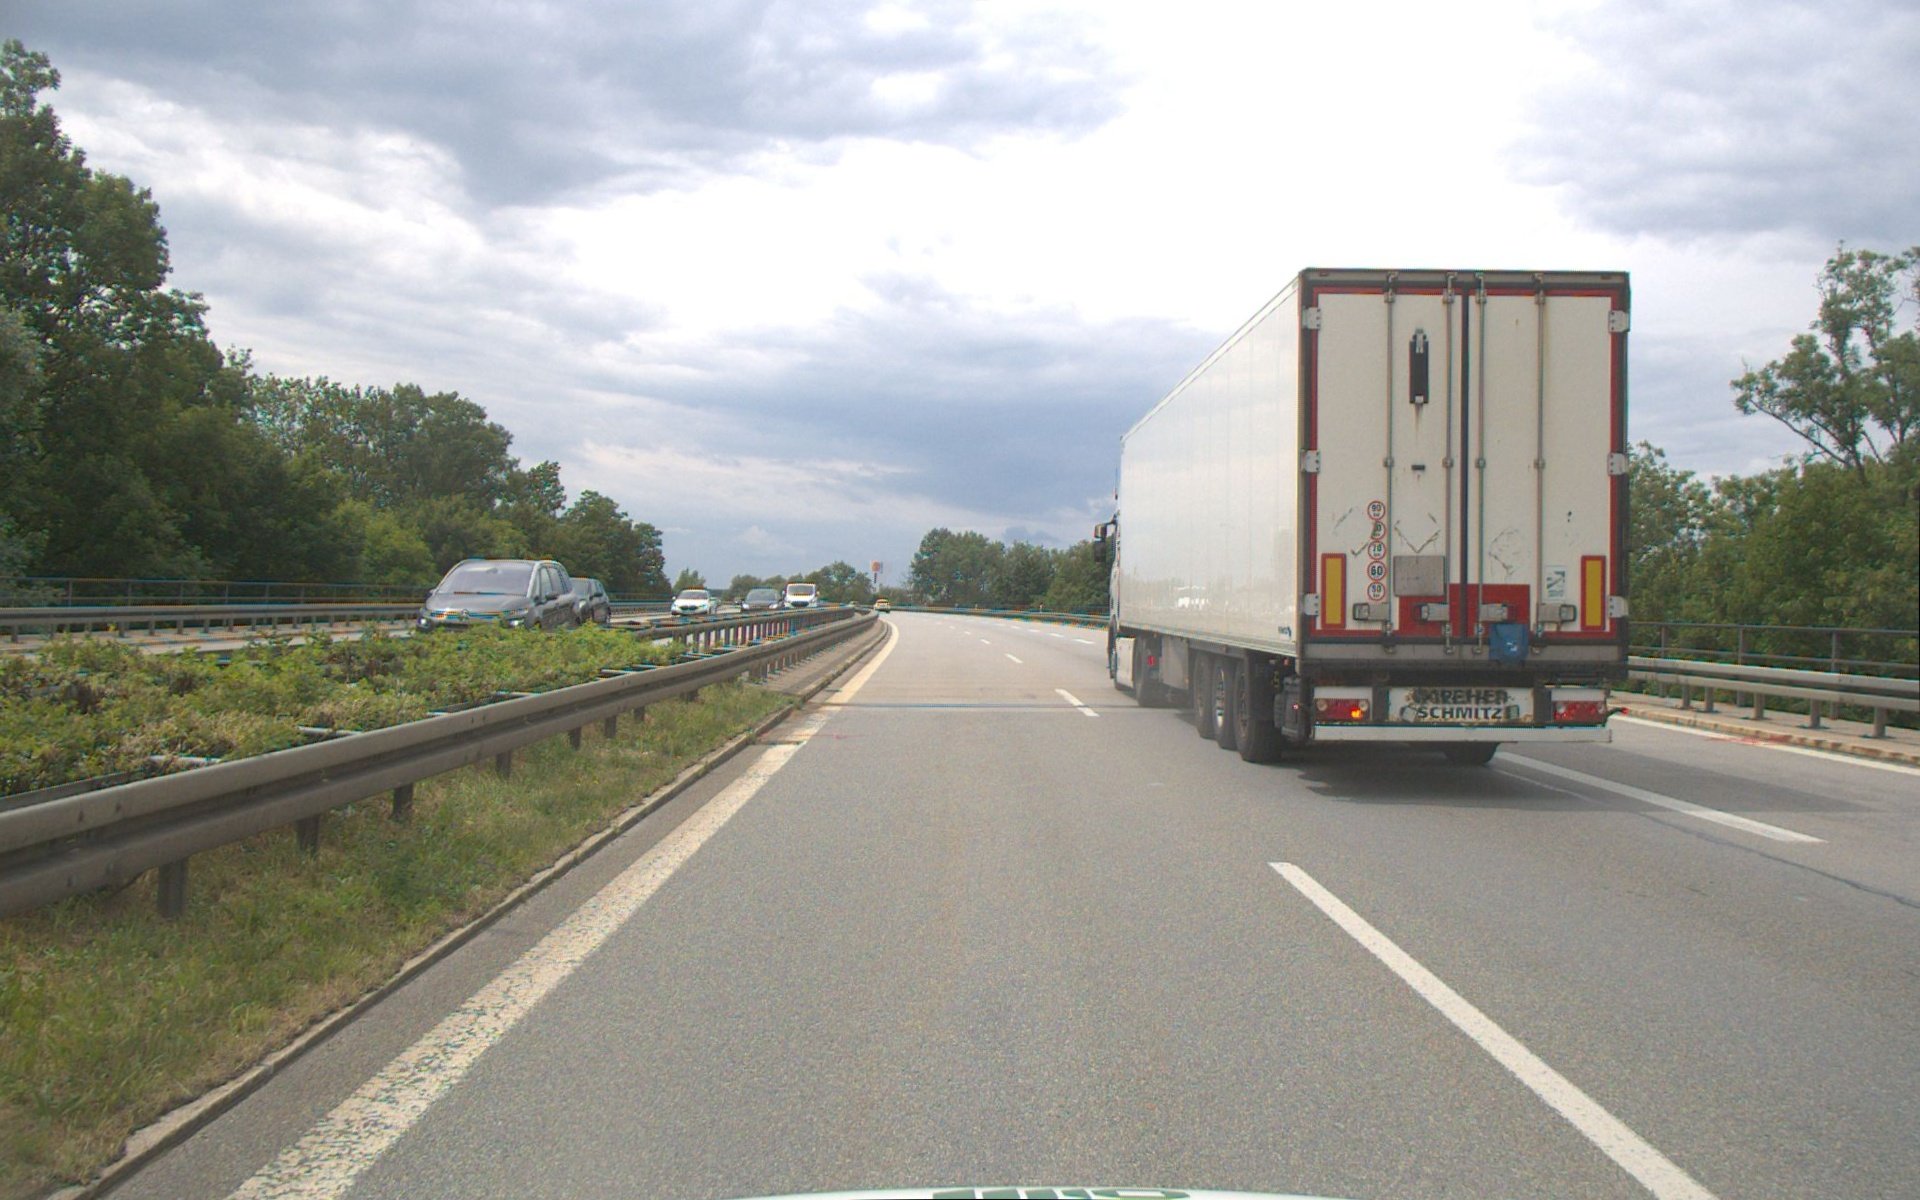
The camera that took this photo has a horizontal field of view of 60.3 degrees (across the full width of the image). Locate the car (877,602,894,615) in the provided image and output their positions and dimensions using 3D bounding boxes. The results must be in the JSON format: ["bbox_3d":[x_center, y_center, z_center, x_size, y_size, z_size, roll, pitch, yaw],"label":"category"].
[{"bbox_3d":[-9.372,1.083,208.208,1.865,1.669,4.391,1,-1,-5],"label":"car"}]

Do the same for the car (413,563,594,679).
[{"bbox_3d":[-7.259,0.286,26.723,1.690,1.679,4.223,2,1,0],"label":"car"}]

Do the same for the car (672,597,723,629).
[{"bbox_3d":[-12.309,0.614,77.725,1.808,1.463,3.935,0,0,-1],"label":"car"}]

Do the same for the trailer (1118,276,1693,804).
[{"bbox_3d":[4.024,-0.464,19.363,2.999,3.959,13.789,0,0,0],"label":"trailer"}]

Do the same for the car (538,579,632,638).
[{"bbox_3d":[-10.824,0.229,47.994,1.693,1.587,4.331,1,0,0],"label":"car"}]

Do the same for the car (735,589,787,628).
[{"bbox_3d":[-8.952,0.375,74.723,1.808,1.640,4.945,2,0,-1],"label":"car"}]

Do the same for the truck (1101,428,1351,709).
[{"bbox_3d":[4.026,-0.453,26.426,2.999,3.960,6.000,0,0,0],"label":"truck"}]

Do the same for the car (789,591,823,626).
[{"bbox_3d":[-9.259,0.498,99.594,1.736,1.944,4.712,2,0,-3],"label":"car"}]
